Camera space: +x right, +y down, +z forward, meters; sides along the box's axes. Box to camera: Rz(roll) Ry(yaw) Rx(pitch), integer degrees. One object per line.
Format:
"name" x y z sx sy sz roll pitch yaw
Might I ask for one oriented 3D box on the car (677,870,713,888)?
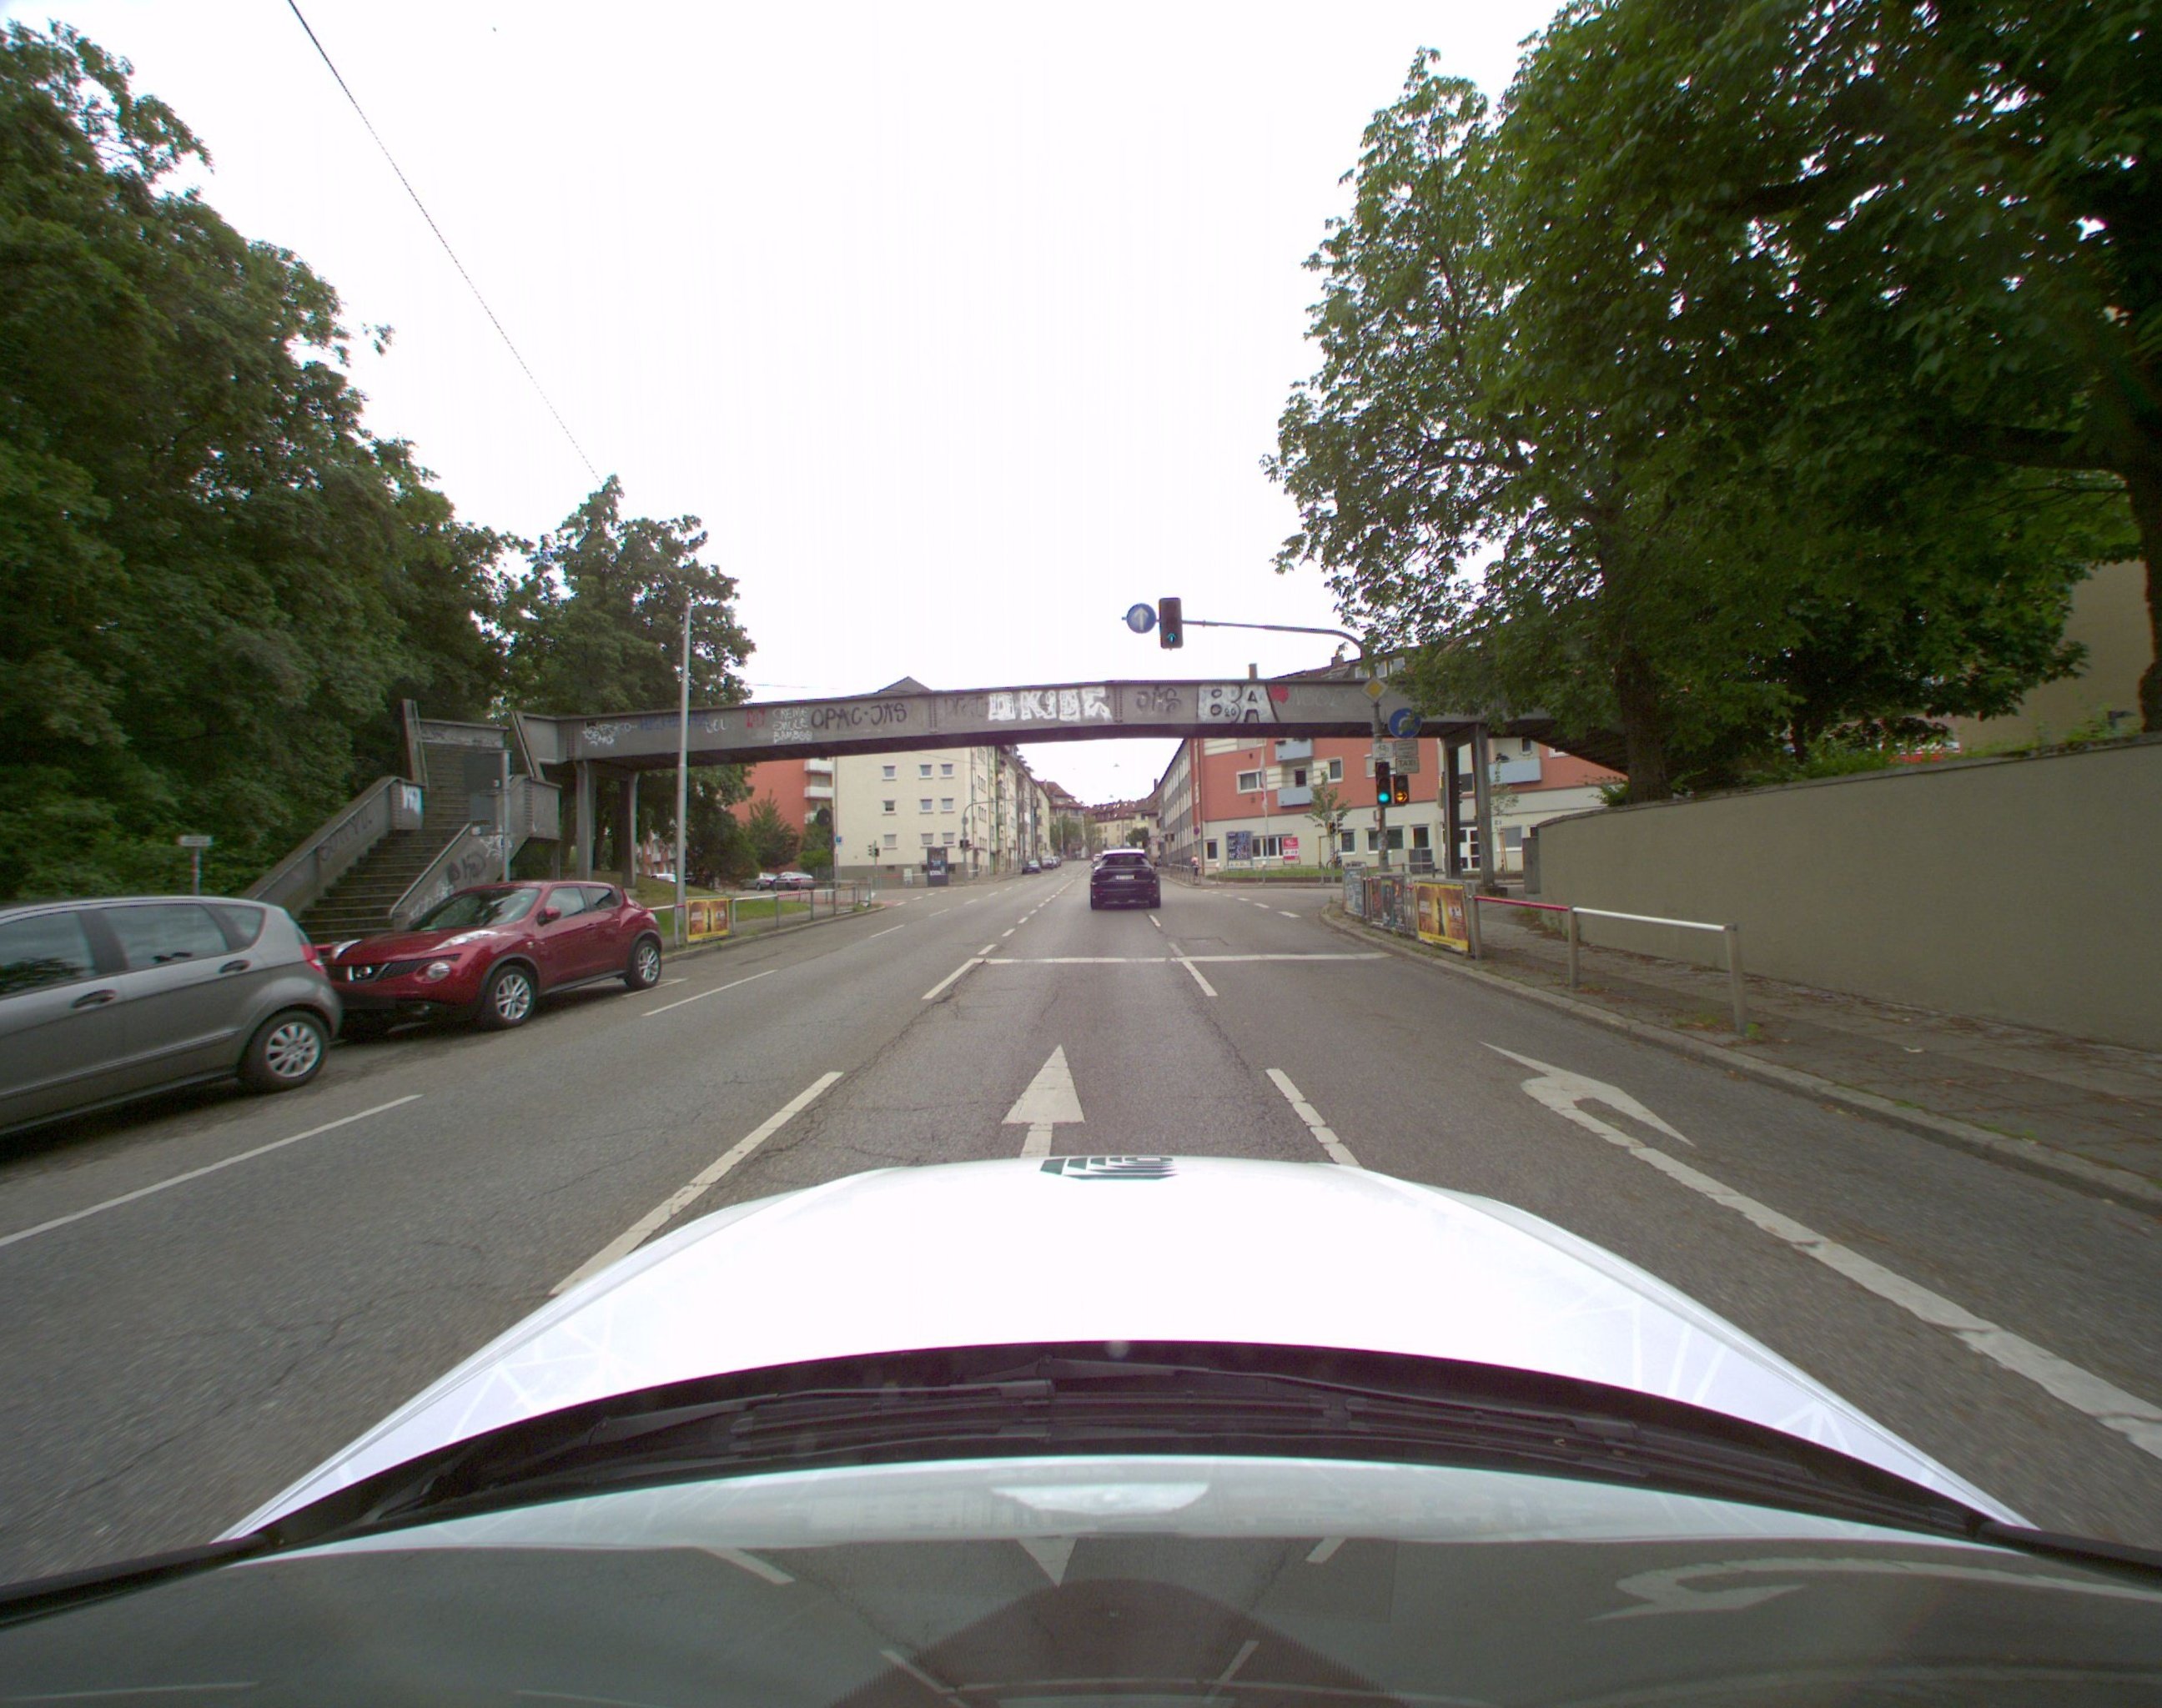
"car" -34.722 2.286 73.215 1.817 1.510 3.952 -2 0 -42

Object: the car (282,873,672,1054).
"car" -6.713 1.084 9.690 1.528 1.540 3.983 -3 0 1

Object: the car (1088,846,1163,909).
"car" 1.264 0.609 24.073 1.986 1.662 4.002 -1 1 2

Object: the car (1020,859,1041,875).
"car" -5.090 1.265 82.580 1.759 1.508 4.002 -2 0 2

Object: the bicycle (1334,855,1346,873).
"bicycle" 13.404 0.503 42.104 0.337 0.903 1.754 -1 0 25

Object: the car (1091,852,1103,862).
"car" 2.589 0.545 130.013 1.759 1.508 4.002 -2 0 2

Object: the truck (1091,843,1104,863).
"truck" 3.094 -0.193 150.282 2.258 3.424 9.880 -2 0 1

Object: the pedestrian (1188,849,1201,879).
"pedestrian" 6.954 0.605 49.905 0.651 1.792 0.714 -1 0 -1

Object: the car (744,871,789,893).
"car" -23.932 2.136 61.910 1.817 1.510 3.952 -2 0 -42

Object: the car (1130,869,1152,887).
"car" 5.184 2.037 70.528 1.735 1.400 4.002 -1 1 2

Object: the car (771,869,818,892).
"car" -20.542 1.917 58.338 1.817 1.510 3.952 -2 0 -42

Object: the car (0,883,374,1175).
"car" -6.993 1.076 5.052 1.740 1.568 3.907 -3 0 -1

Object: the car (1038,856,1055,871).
"car" -4.187 1.125 98.996 1.759 1.650 4.002 -2 0 2
